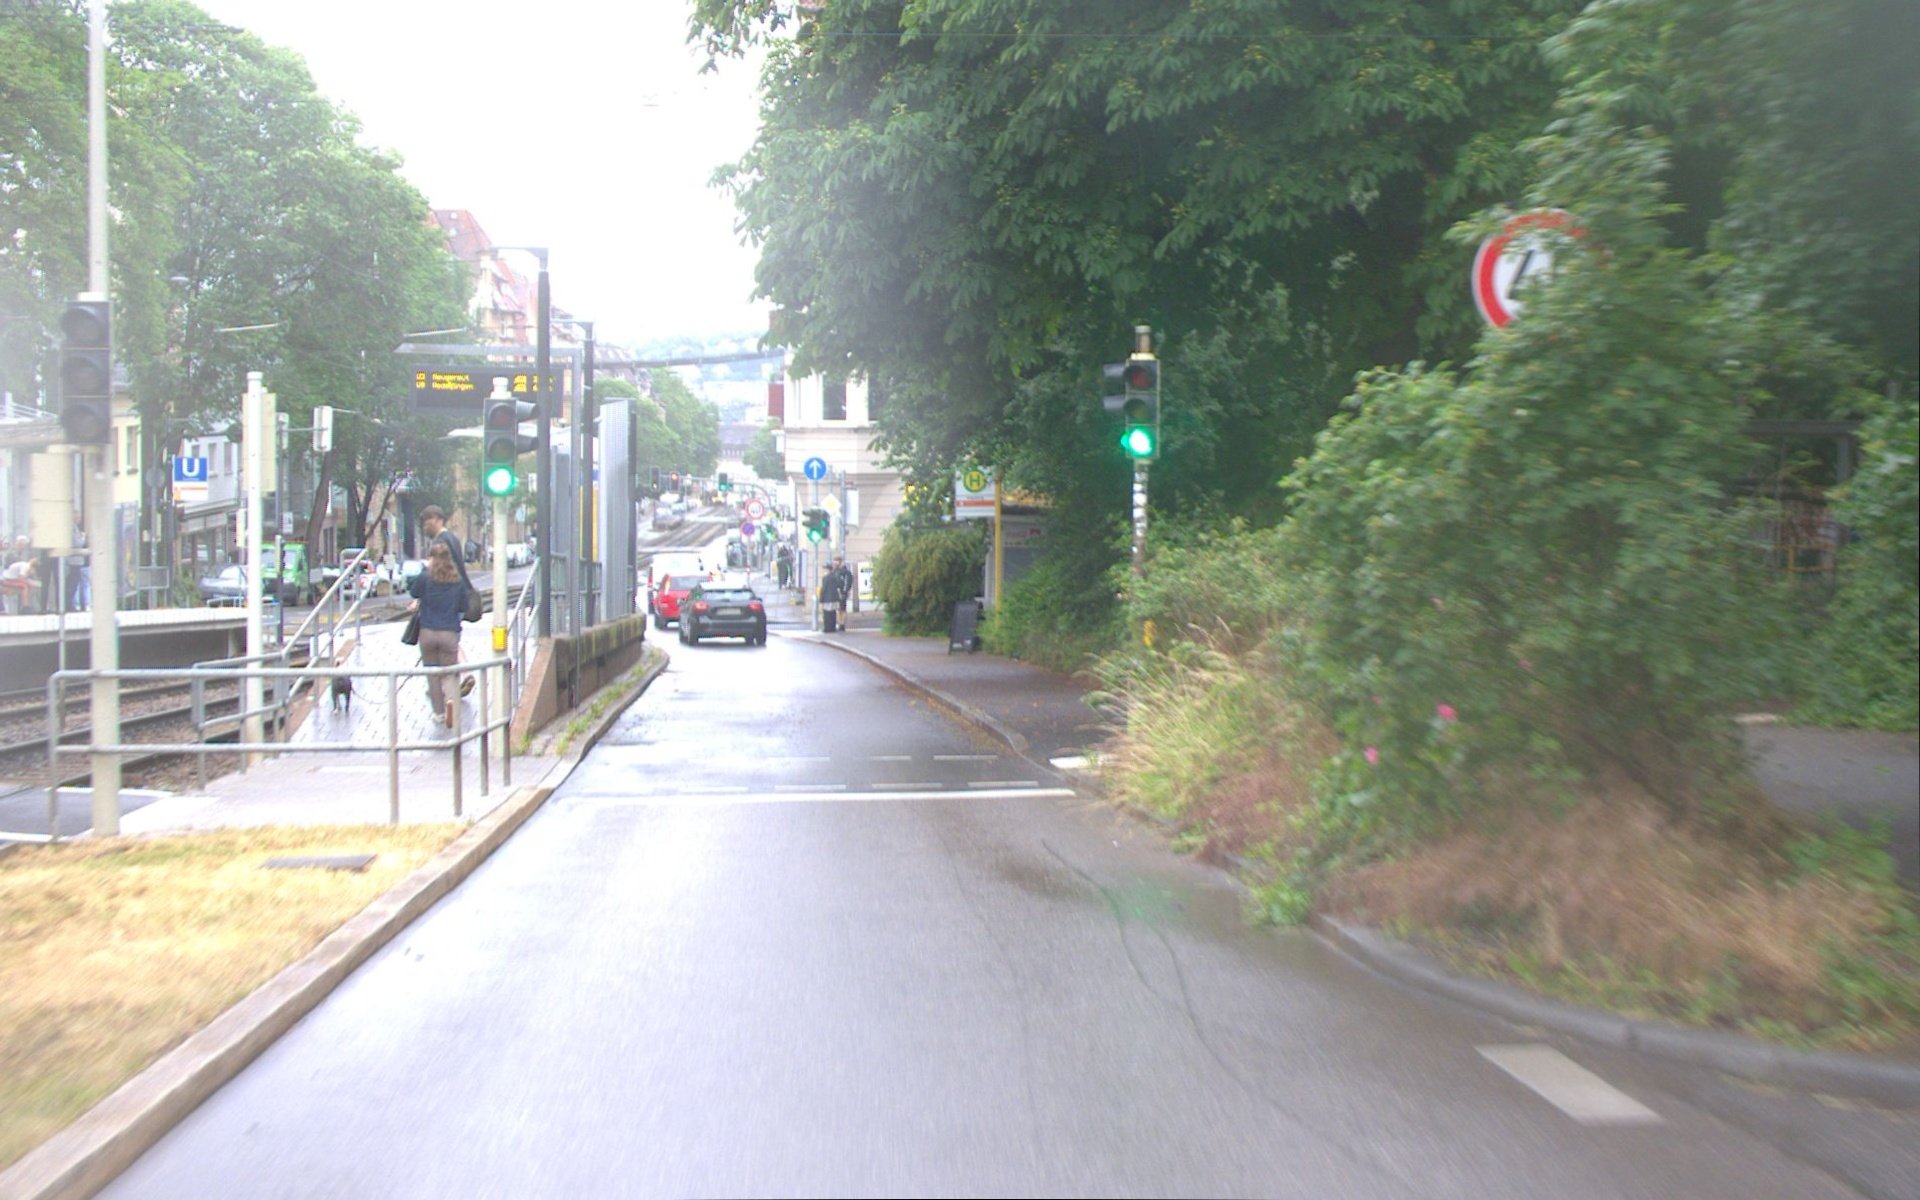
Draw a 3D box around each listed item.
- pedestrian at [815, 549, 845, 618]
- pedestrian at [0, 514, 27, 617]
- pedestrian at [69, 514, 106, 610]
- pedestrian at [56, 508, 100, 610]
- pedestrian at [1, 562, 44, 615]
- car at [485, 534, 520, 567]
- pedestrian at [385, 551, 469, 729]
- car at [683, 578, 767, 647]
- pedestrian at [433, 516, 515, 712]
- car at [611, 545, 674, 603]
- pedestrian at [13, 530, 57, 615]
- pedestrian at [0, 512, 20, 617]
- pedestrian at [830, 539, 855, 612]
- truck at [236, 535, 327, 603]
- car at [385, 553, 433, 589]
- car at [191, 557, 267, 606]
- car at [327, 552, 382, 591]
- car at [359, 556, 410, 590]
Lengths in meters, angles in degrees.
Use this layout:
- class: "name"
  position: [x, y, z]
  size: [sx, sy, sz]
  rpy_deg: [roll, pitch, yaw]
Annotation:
- class: "pedestrian"
  position: [-3.206, -0.406, 84.530]
  size: [0.695, 1.689, 0.555]
  rpy_deg: [-1, 1, -5]
- class: "pedestrian"
  position: [-15.583, -0.559, 56.027]
  size: [0.550, 1.660, 0.614]
  rpy_deg: [-3, 0, -3]
- class: "pedestrian"
  position: [-15.932, -0.697, 62.803]
  size: [0.482, 1.735, 0.563]
  rpy_deg: [-3, 0, -3]
- class: "pedestrian"
  position: [-15.229, -0.705, 59.359]
  size: [0.550, 1.735, 0.614]
  rpy_deg: [-3, 0, -3]
- class: "pedestrian"
  position: [-15.595, -0.192, 57.187]
  size: [0.550, 0.869, 0.614]
  rpy_deg: [-3, 0, -3]
- class: "car"
  position: [-29.682, -3.177, 223.134]
  size: [1.993, 2.007, 4.347]
  rpy_deg: [-3, 0, -5]
- class: "pedestrian"
  position: [-4.741, 0.347, 30.608]
  size: [0.650, 1.557, 0.684]
  rpy_deg: [-1, 1, -3]
- class: "car"
  position: [-5.472, 0.268, 79.669]
  size: [1.851, 1.468, 4.001]
  rpy_deg: [-1, 1, -5]
- class: "pedestrian"
  position: [-4.495, 0.121, 31.810]
  size: [0.650, 1.778, 0.848]
  rpy_deg: [-1, 1, -3]
- class: "car"
  position: [-10.170, -0.833, 110.260]
  size: [1.948, 1.787, 4.145]
  rpy_deg: [0, 0, -5]
- class: "pedestrian"
  position: [-15.626, -0.466, 58.084]
  size: [0.550, 1.408, 0.614]
  rpy_deg: [-3, 0, -3]
- class: "pedestrian"
  position: [-15.409, -0.559, 54.907]
  size: [0.594, 1.660, 0.591]
  rpy_deg: [-3, 0, -3]
- class: "pedestrian"
  position: [-2.919, -0.603, 85.173]
  size: [0.553, 1.807, 0.651]
  rpy_deg: [-1, 1, -6]
- class: "truck"
  position: [-24.784, -1.157, 125.760]
  size: [2.051, 2.385, 6.321]
  rpy_deg: [-1, 1, 0]
- class: "car"
  position: [-26.769, -1.419, 167.010]
  size: [1.773, 1.614, 4.256]
  rpy_deg: [-3, 1, -3]
- class: "car"
  position: [-24.544, -0.637, 115.604]
  size: [1.726, 1.510, 4.496]
  rpy_deg: [-1, 1, -2]
- class: "car"
  position: [-25.850, -1.216, 146.904]
  size: [1.773, 1.541, 4.256]
  rpy_deg: [-3, 1, -4]
- class: "car"
  position: [-26.473, -1.253, 158.327]
  size: [1.773, 1.483, 4.256]
  rpy_deg: [-3, 1, -3]
